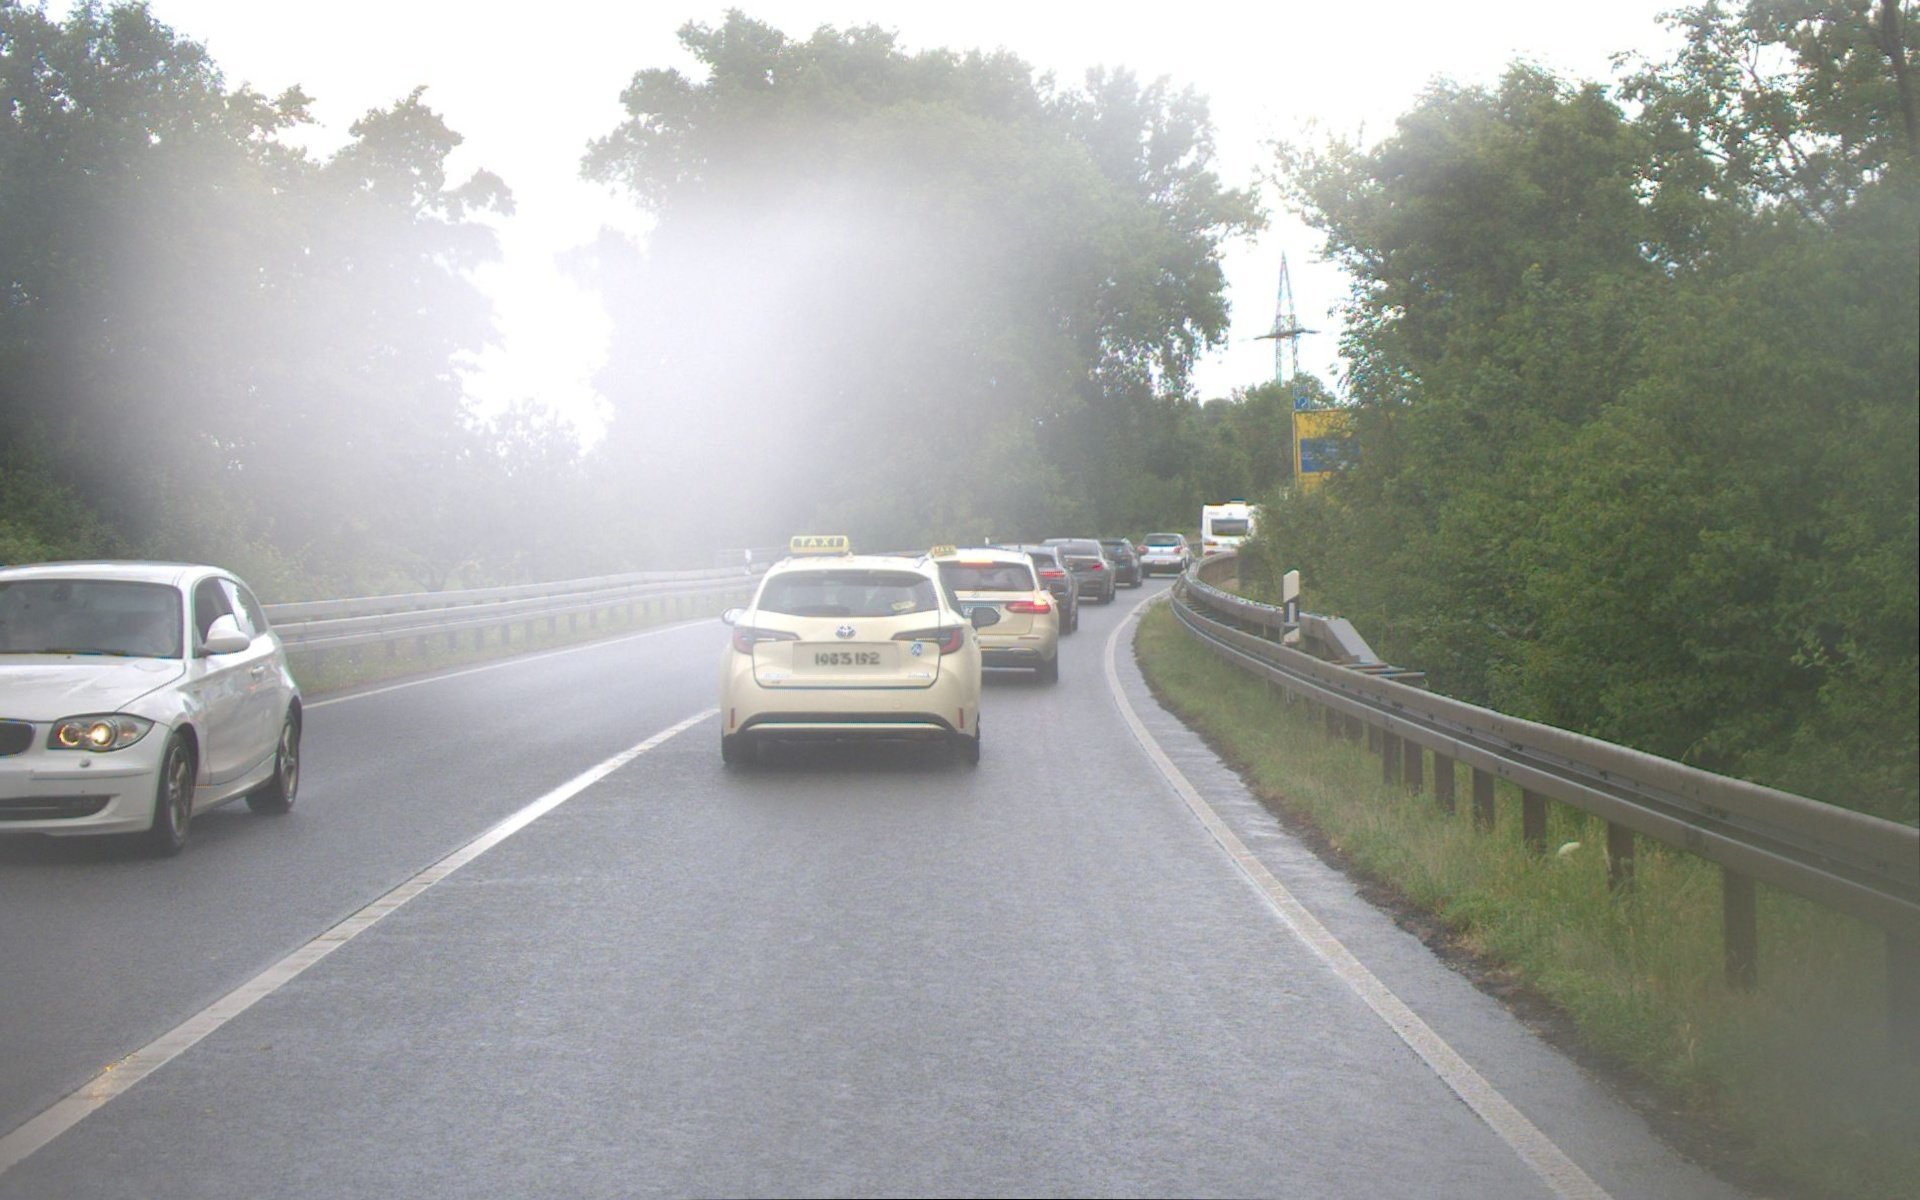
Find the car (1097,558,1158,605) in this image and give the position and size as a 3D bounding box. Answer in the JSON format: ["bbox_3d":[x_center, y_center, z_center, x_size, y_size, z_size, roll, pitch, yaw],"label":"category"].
[{"bbox_3d":[4.774,-0.536,97.710,1.483,1.304,3.476,0,1,6],"label":"car"}]

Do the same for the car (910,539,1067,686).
[{"bbox_3d":[0.362,0.105,39.010,1.578,1.567,3.681,0,1,4],"label":"car"}]

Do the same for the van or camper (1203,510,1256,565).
[{"bbox_3d":[11.220,-2.586,142.917,1.994,2.246,3.999,1,1,8],"label":"van or camper"}]

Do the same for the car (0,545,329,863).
[{"bbox_3d":[-4.600,0.446,17.852,1.815,1.449,4.047,0,1,1],"label":"car"}]

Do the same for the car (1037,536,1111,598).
[{"bbox_3d":[2.653,-0.753,79.684,1.660,1.404,3.904,0,0,2],"label":"car"}]

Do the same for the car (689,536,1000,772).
[{"bbox_3d":[-0.733,0.320,24.563,1.906,1.532,4.161,0,1,2],"label":"car"}]

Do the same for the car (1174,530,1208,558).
[{"bbox_3d":[11.848,-2.868,176.087,1.425,1.351,3.225,1,1,9],"label":"car"}]

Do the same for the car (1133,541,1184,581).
[{"bbox_3d":[6.628,-1.304,114.403,1.483,1.304,3.476,0,1,6],"label":"car"}]

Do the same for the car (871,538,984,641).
[{"bbox_3d":[-0.445,-0.176,49.886,1.506,1.432,3.355,1,1,2],"label":"car"}]

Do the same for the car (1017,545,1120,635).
[{"bbox_3d":[1.819,-0.192,57.834,1.665,1.459,3.477,0,1,2],"label":"car"}]
